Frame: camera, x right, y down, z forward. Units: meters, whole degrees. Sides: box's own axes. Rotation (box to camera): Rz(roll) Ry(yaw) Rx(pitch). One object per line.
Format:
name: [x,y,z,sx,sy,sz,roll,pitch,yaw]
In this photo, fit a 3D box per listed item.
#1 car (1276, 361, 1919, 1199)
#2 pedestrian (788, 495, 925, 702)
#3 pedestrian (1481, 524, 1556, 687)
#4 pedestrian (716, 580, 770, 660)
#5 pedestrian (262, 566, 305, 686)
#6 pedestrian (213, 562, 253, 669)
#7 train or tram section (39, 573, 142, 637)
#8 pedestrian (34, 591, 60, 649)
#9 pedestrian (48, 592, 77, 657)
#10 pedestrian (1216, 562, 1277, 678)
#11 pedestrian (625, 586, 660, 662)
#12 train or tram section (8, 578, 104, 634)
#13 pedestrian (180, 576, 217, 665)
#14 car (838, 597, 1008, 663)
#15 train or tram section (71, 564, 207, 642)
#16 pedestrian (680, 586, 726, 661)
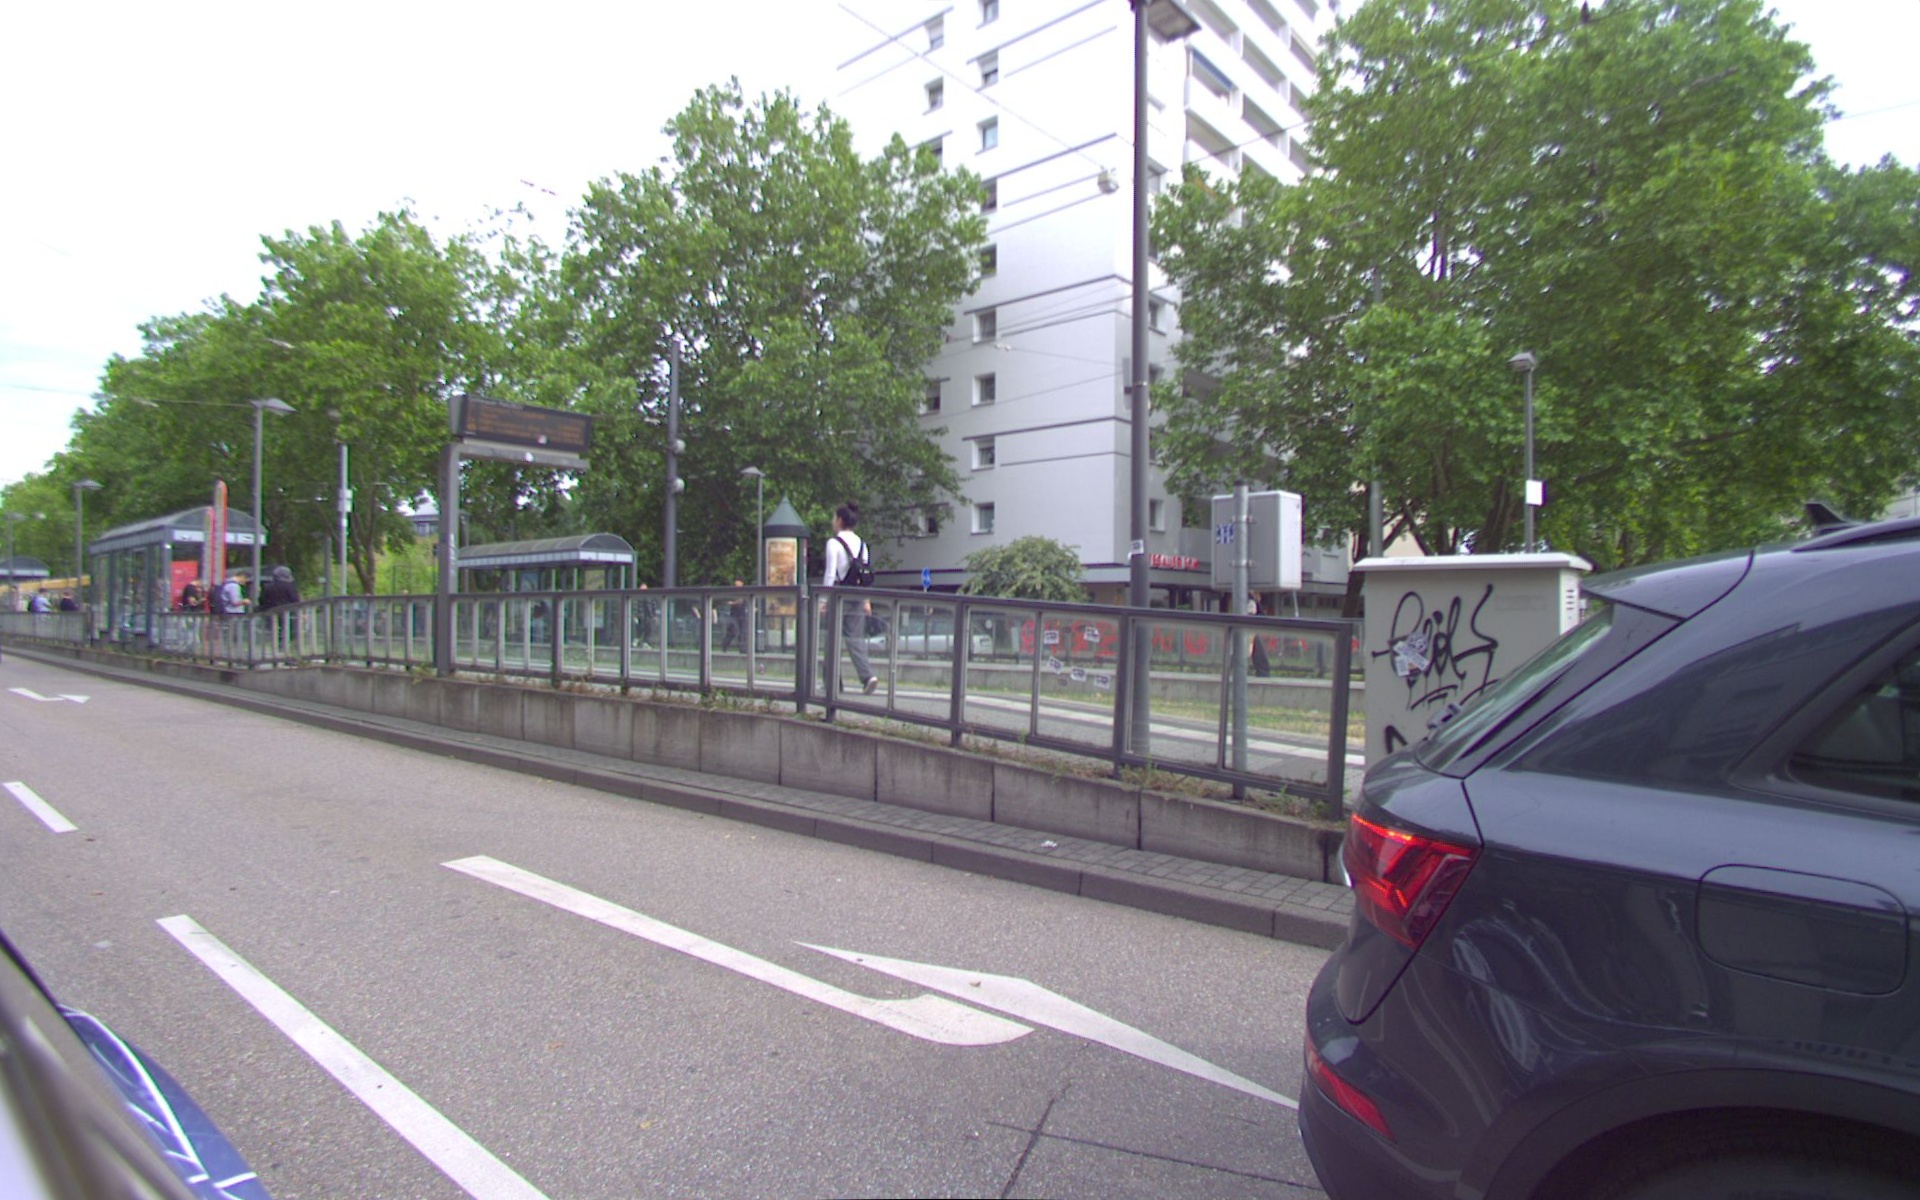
car: [2.691,0.521,0.981,4.225,1.649,1.715,-1,0,41]
pedestrian: [-0.905,-0.011,8.804,0.979,1.683,0.711,-1,0,44]
pedestrian: [7.026,0.065,12.723,0.666,1.965,0.728,-1,0,41]
pedestrian: [-4.963,0.441,23.147,0.850,1.769,0.871,-1,0,41]
pedestrian: [-10.527,0.390,15.751,0.513,1.818,0.606,-1,0,-37]
pedestrian: [-12.703,0.267,17.679,0.605,1.818,0.469,-1,0,45]
train or tram section: [-55.711,0.333,64.681,12.543,3.781,3.295,-1,0,41]
pedestrian: [-29.035,0.625,32.194,0.523,1.818,0.607,-1,0,-35]
pedestrian: [-25.566,0.694,28.832,0.523,1.818,0.607,-1,0,-35]
pedestrian: [4.491,0.309,15.867,0.666,1.763,0.728,-1,0,41]
pedestrian: [-8.299,0.619,26.460,0.553,1.945,0.690,-1,0,41]
train or tram section: [-66.530,0.472,74.254,16.241,3.781,3.295,-1,0,41]
pedestrian: [-15.923,0.420,21.171,0.467,1.818,0.607,-1,0,-24]
car: [-0.974,0.742,26.155,3.980,1.564,1.917,-1,0,27]
train or tram section: [-45.266,0.199,55.498,15.196,3.781,3.295,-1,0,41]
pedestrian: [-6.434,0.580,25.348,0.666,1.848,0.871,-1,0,41]
